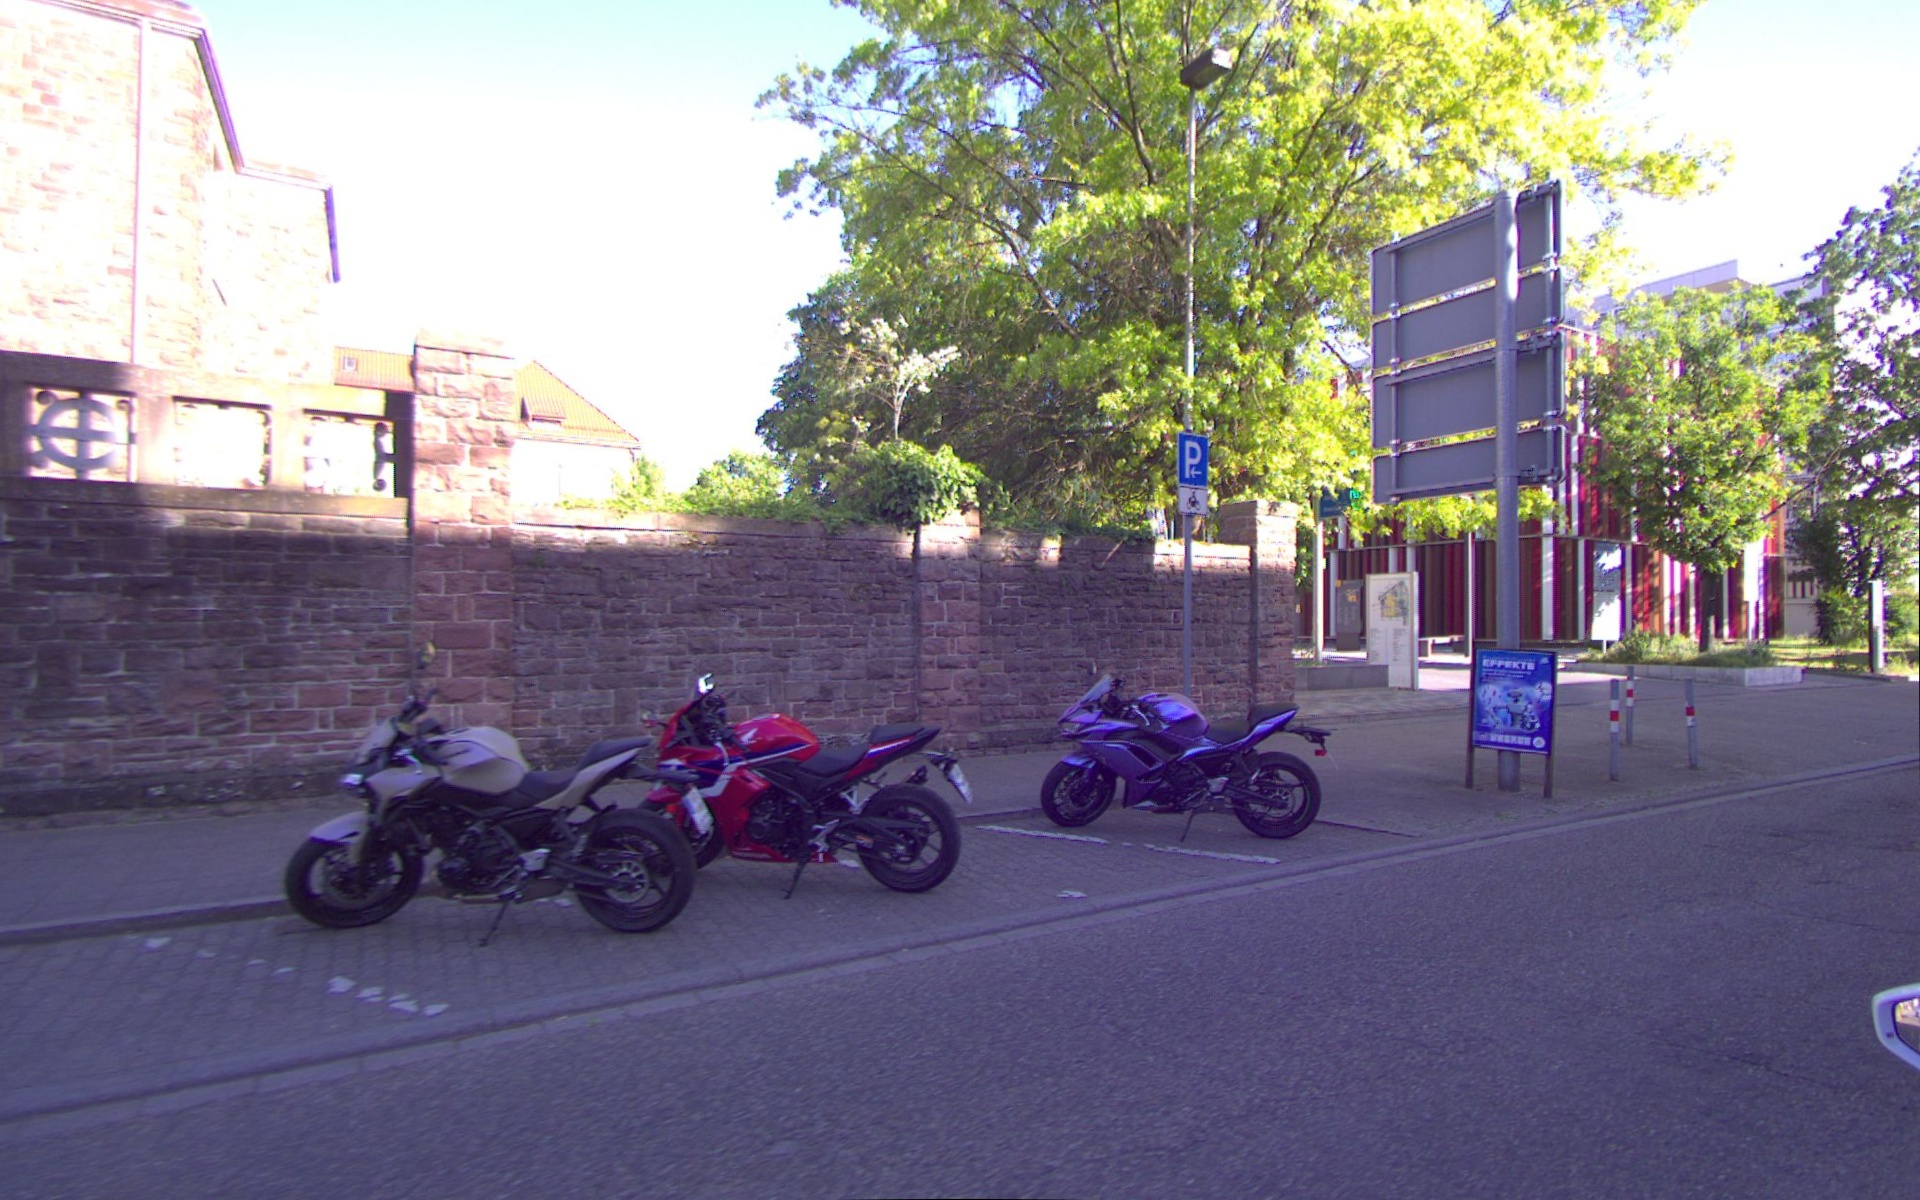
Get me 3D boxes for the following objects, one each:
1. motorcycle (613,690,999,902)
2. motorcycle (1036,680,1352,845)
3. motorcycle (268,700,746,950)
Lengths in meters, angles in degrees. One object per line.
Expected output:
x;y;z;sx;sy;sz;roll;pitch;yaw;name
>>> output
-0.819;1.066;5.617;2.049;1.053;0.532;1;1;1;motorcycle
1.578;1.104;7.027;2.085;1.046;0.601;0;0;4;motorcycle
-2.111;1.044;4.814;2.049;1.053;0.532;1;1;1;motorcycle
